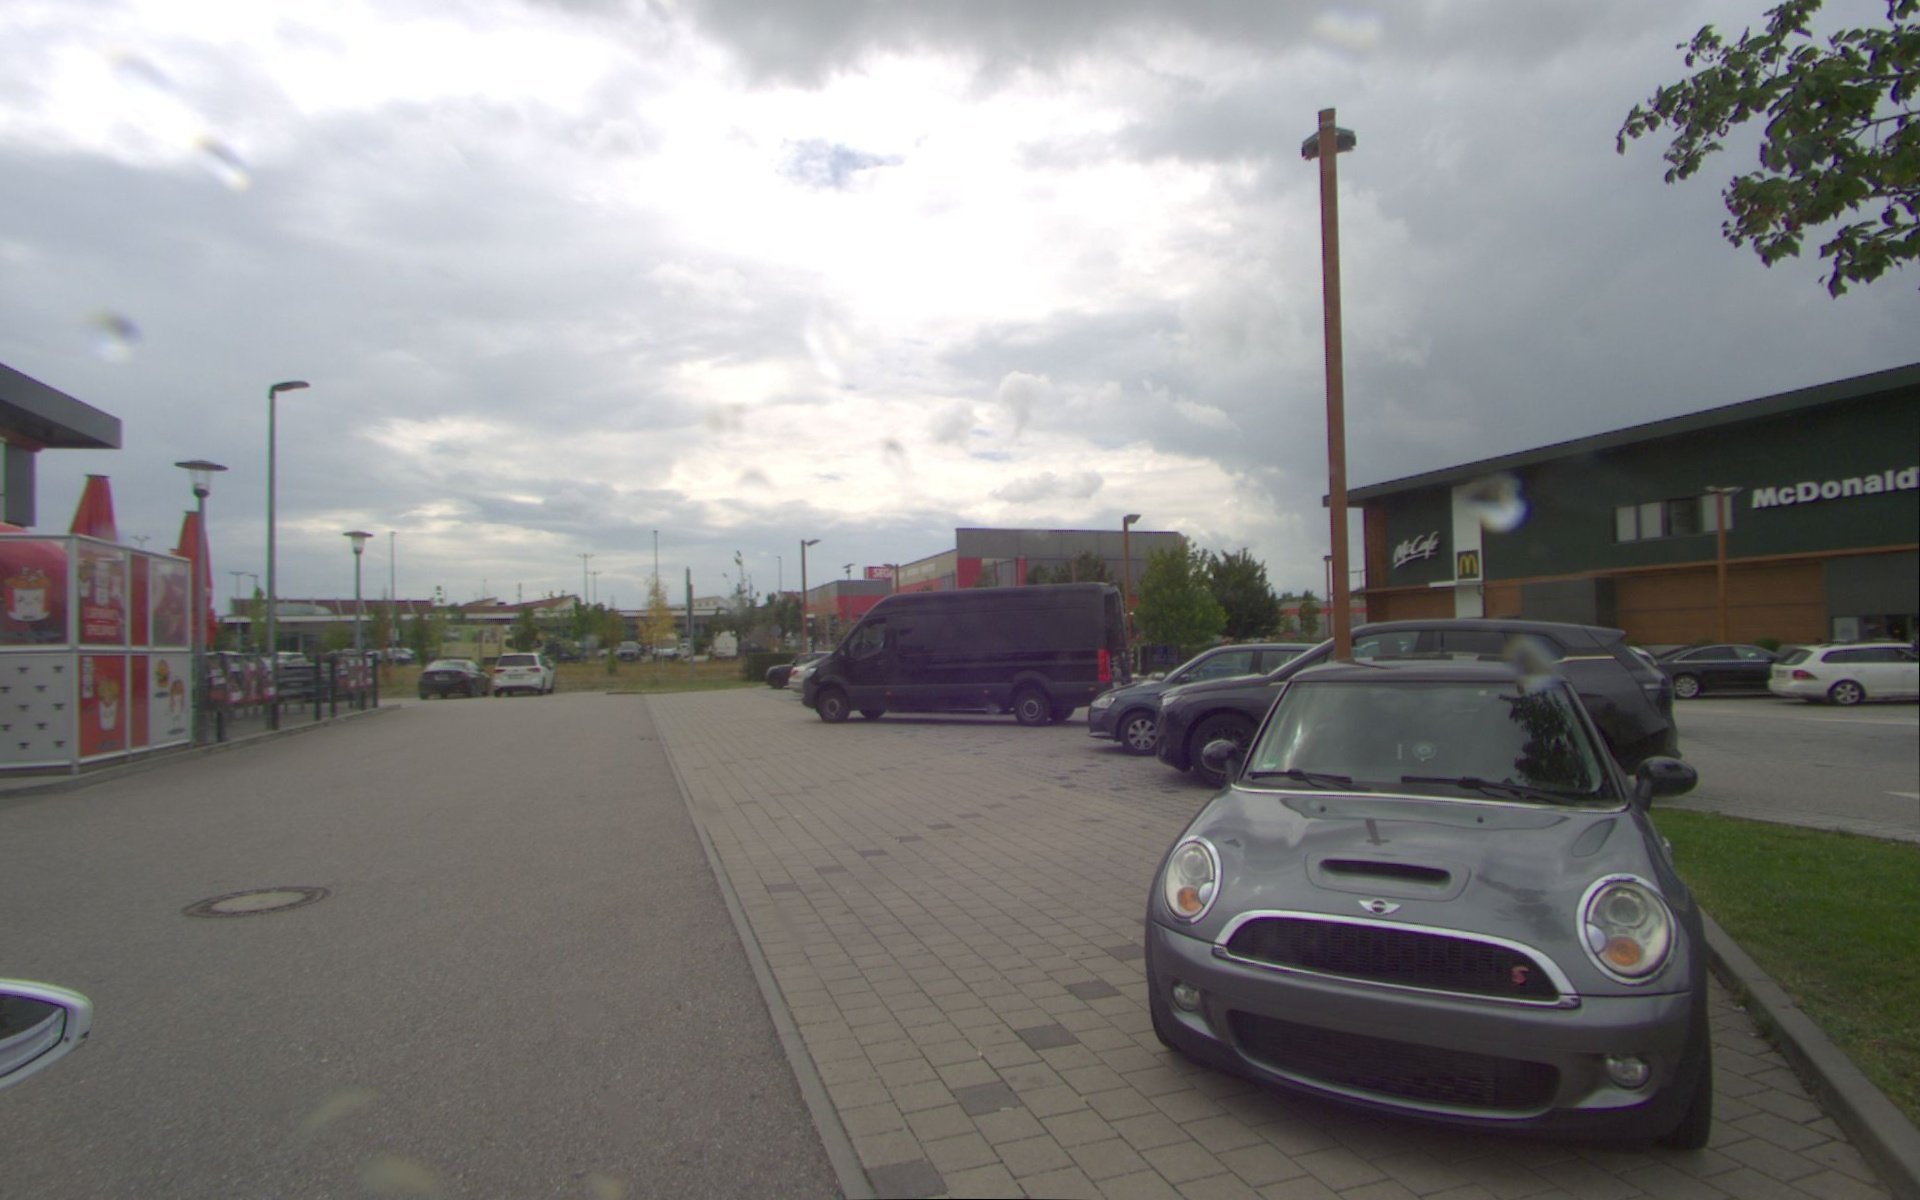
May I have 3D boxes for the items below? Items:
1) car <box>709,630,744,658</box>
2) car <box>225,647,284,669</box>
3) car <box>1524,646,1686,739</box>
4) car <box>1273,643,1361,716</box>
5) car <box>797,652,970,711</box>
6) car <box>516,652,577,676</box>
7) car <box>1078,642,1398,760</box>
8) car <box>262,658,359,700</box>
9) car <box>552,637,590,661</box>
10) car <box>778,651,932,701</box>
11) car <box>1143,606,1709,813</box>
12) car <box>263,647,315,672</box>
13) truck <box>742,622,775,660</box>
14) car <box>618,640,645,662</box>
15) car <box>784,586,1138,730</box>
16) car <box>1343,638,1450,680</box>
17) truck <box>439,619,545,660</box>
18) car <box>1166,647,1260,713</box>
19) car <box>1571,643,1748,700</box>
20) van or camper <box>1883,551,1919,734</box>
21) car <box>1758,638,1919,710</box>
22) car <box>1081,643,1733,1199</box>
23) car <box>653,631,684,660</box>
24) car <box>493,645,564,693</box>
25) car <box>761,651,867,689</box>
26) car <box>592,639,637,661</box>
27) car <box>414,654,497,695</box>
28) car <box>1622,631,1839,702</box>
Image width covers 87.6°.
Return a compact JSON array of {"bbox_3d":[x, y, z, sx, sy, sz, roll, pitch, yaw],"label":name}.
[{"bbox_3d":[-20.069,3.735,86.015,2.305,2.297,6.492,-1,-1,-19],"label":"car"},{"bbox_3d":[-60.726,5.019,86.255,3.925,1.795,1.999,-1,-1,12],"label":"car"},{"bbox_3d":[11.362,1.559,17.904,1.812,1.472,3.566,-1,-3,23],"label":"car"},{"bbox_3d":[8.328,1.775,23.280,1.749,1.485,4.104,1,-2,21],"label":"car"},{"bbox_3d":[-2.039,2.123,26.704,4.334,1.481,1.683,-1,-3,24],"label":"car"},{"bbox_3d":[-26.536,4.092,64.353,3.396,1.388,1.431,-1,-1,-13],"label":"car"},{"bbox_3d":[3.735,1.329,13.693,3.929,1.429,1.831,-1,-3,18],"label":"car"},{"bbox_3d":[-24.246,2.959,37.547,1.854,1.429,4.070,0,-4,-15],"label":"car"},{"bbox_3d":[-32.317,4.088,83.245,2.039,1.908,5.069,0,-3,-11],"label":"car"},{"bbox_3d":[-3.213,2.280,30.556,4.384,1.429,1.750,-1,-3,22],"label":"car"},{"bbox_3d":[4.492,0.999,10.346,4.814,1.750,1.995,-1,-2,23],"label":"car"},{"bbox_3d":[-54.036,4.774,80.706,1.963,1.795,4.318,-1,-1,-12],"label":"car"},{"bbox_3d":[-21.661,4.318,107.359,2.610,3.792,8.241,-1,-1,-18],"label":"truck"},{"bbox_3d":[-27.409,4.256,83.693,2.041,1.660,5.062,0,-1,-17],"label":"car"},{"bbox_3d":[-0.039,1.143,20.210,6.894,2.585,2.069,-1,-2,22],"label":"car"},{"bbox_3d":[17.341,2.329,39.930,3.839,1.605,1.746,-1,-1,22],"label":"car"},{"bbox_3d":[-38.463,3.213,82.245,8.287,3.238,3.022,-1,-1,21],"label":"truck"},{"bbox_3d":[7.007,2.115,27.436,1.741,1.529,3.987,-1,-1,26],"label":"car"},{"bbox_3d":[20.692,2.118,29.836,4.029,1.594,1.831,-2,-2,27],"label":"car"},{"bbox_3d":[14.478,0.532,12.957,2.139,2.734,6.550,-1,-3,29],"label":"van or camper"},{"bbox_3d":[21.710,1.737,23.746,3.933,1.505,1.786,-4,-2,21],"label":"car"},{"bbox_3d":[1.930,0.929,4.192,1.586,1.394,3.511,-1,-1,30],"label":"car"},{"bbox_3d":[-24.740,3.813,84.949,2.373,2.243,6.049,0,-1,-17],"label":"car"},{"bbox_3d":[-16.882,2.740,39.400,1.956,1.733,4.371,0,-4,-15],"label":"car"},{"bbox_3d":[-5.805,2.767,39.946,3.862,1.429,1.685,-1,-3,20],"label":"car"},{"bbox_3d":[-33.759,4.881,97.819,3.936,2.040,1.993,0,-1,-24],"label":"car"},{"bbox_3d":[-19.431,2.899,38.777,1.912,1.484,4.515,0,-4,-15],"label":"car"},{"bbox_3d":[20.626,1.784,27.036,4.188,1.683,1.894,-4,-2,22],"label":"car"}]
